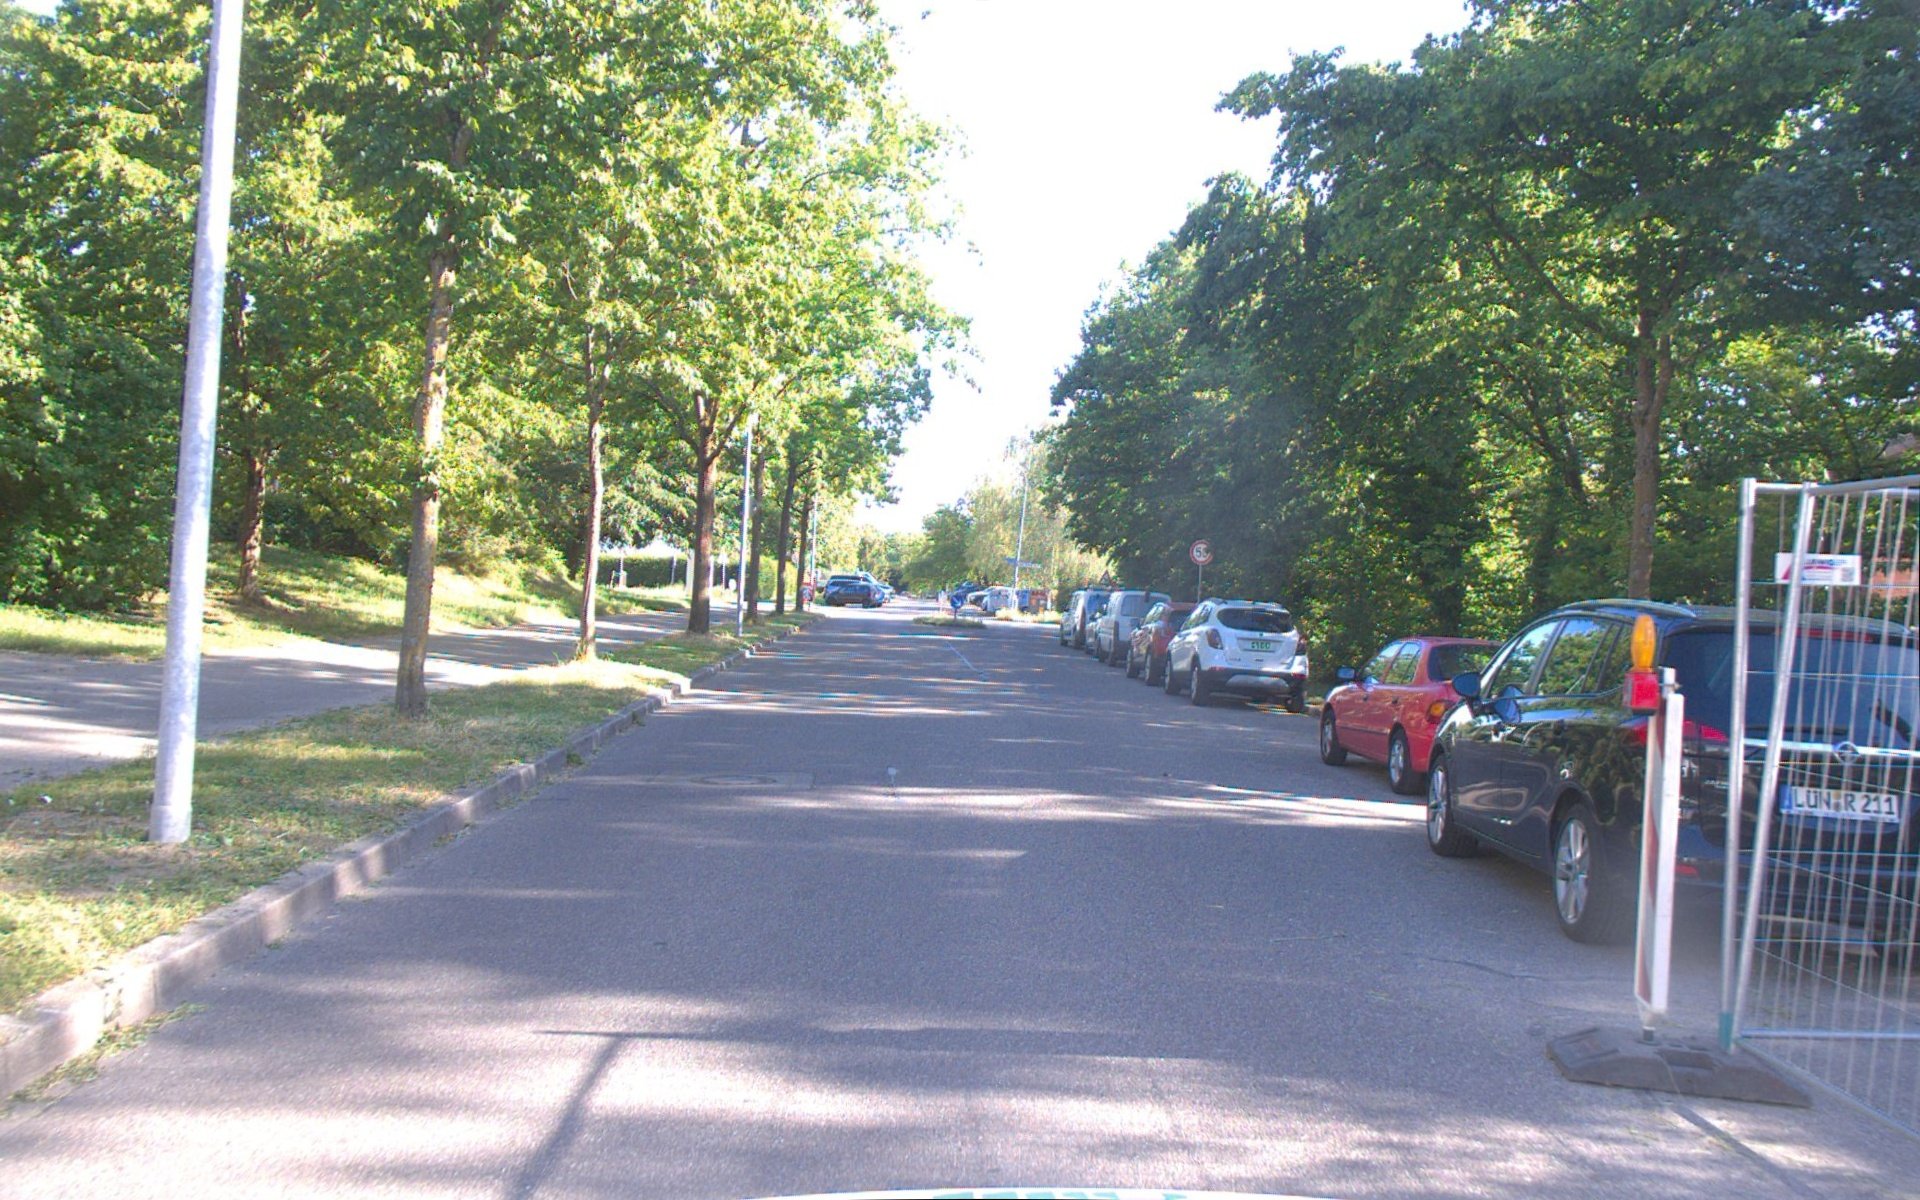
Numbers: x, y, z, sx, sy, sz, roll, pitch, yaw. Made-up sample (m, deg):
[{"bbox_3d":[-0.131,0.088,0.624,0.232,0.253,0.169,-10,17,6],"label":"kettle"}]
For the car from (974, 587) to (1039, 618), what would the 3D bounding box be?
[{"bbox_3d":[2.826,0.150,100.814,3.759,1.603,1.689,5,0,5],"label":"car"}]

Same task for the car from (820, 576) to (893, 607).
[{"bbox_3d":[-6.548,-0.519,105.053,4.228,1.603,2.047,5,0,5],"label":"car"}]

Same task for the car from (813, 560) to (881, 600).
[{"bbox_3d":[-8.898,-1.575,130.235,5.101,2.666,2.290,5,0,-7],"label":"car"}]

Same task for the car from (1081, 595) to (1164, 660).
[{"bbox_3d":[4.406,0.713,45.305,1.657,1.538,4.205,5,0,-1],"label":"car"}]

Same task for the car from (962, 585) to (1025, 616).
[{"bbox_3d":[2.112,0.026,103.617,3.759,1.603,1.689,5,0,5],"label":"car"}]

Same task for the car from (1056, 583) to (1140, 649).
[{"bbox_3d":[4.233,0.448,51.447,1.756,1.816,4.552,5,0,-5],"label":"car"}]

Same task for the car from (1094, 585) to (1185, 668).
[{"bbox_3d":[4.313,0.598,40.211,1.591,1.803,3.668,5,0,-1],"label":"car"}]

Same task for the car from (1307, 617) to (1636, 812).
[{"bbox_3d":[4.654,0.965,15.709,1.628,1.399,4.153,5,0,-2],"label":"car"}]

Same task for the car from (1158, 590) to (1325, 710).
[{"bbox_3d":[4.494,0.746,27.007,1.741,1.649,4.062,5,0,-3],"label":"car"}]

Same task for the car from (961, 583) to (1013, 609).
[{"bbox_3d":[2.052,-0.293,126.230,3.759,1.603,1.689,5,0,5],"label":"car"}]

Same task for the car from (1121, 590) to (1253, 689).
[{"bbox_3d":[4.363,0.712,32.365,1.741,1.649,4.062,5,0,-3],"label":"car"}]

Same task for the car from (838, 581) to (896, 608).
[{"bbox_3d":[-6.815,-0.407,121.353,4.024,1.603,1.958,5,0,0],"label":"car"}]

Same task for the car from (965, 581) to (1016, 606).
[{"bbox_3d":[2.392,-0.515,129.371,3.759,1.603,1.689,5,0,3],"label":"car"}]

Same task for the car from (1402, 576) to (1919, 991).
[{"bbox_3d":[3.942,0.807,9.304,1.773,1.679,4.422,5,0,2],"label":"car"}]
